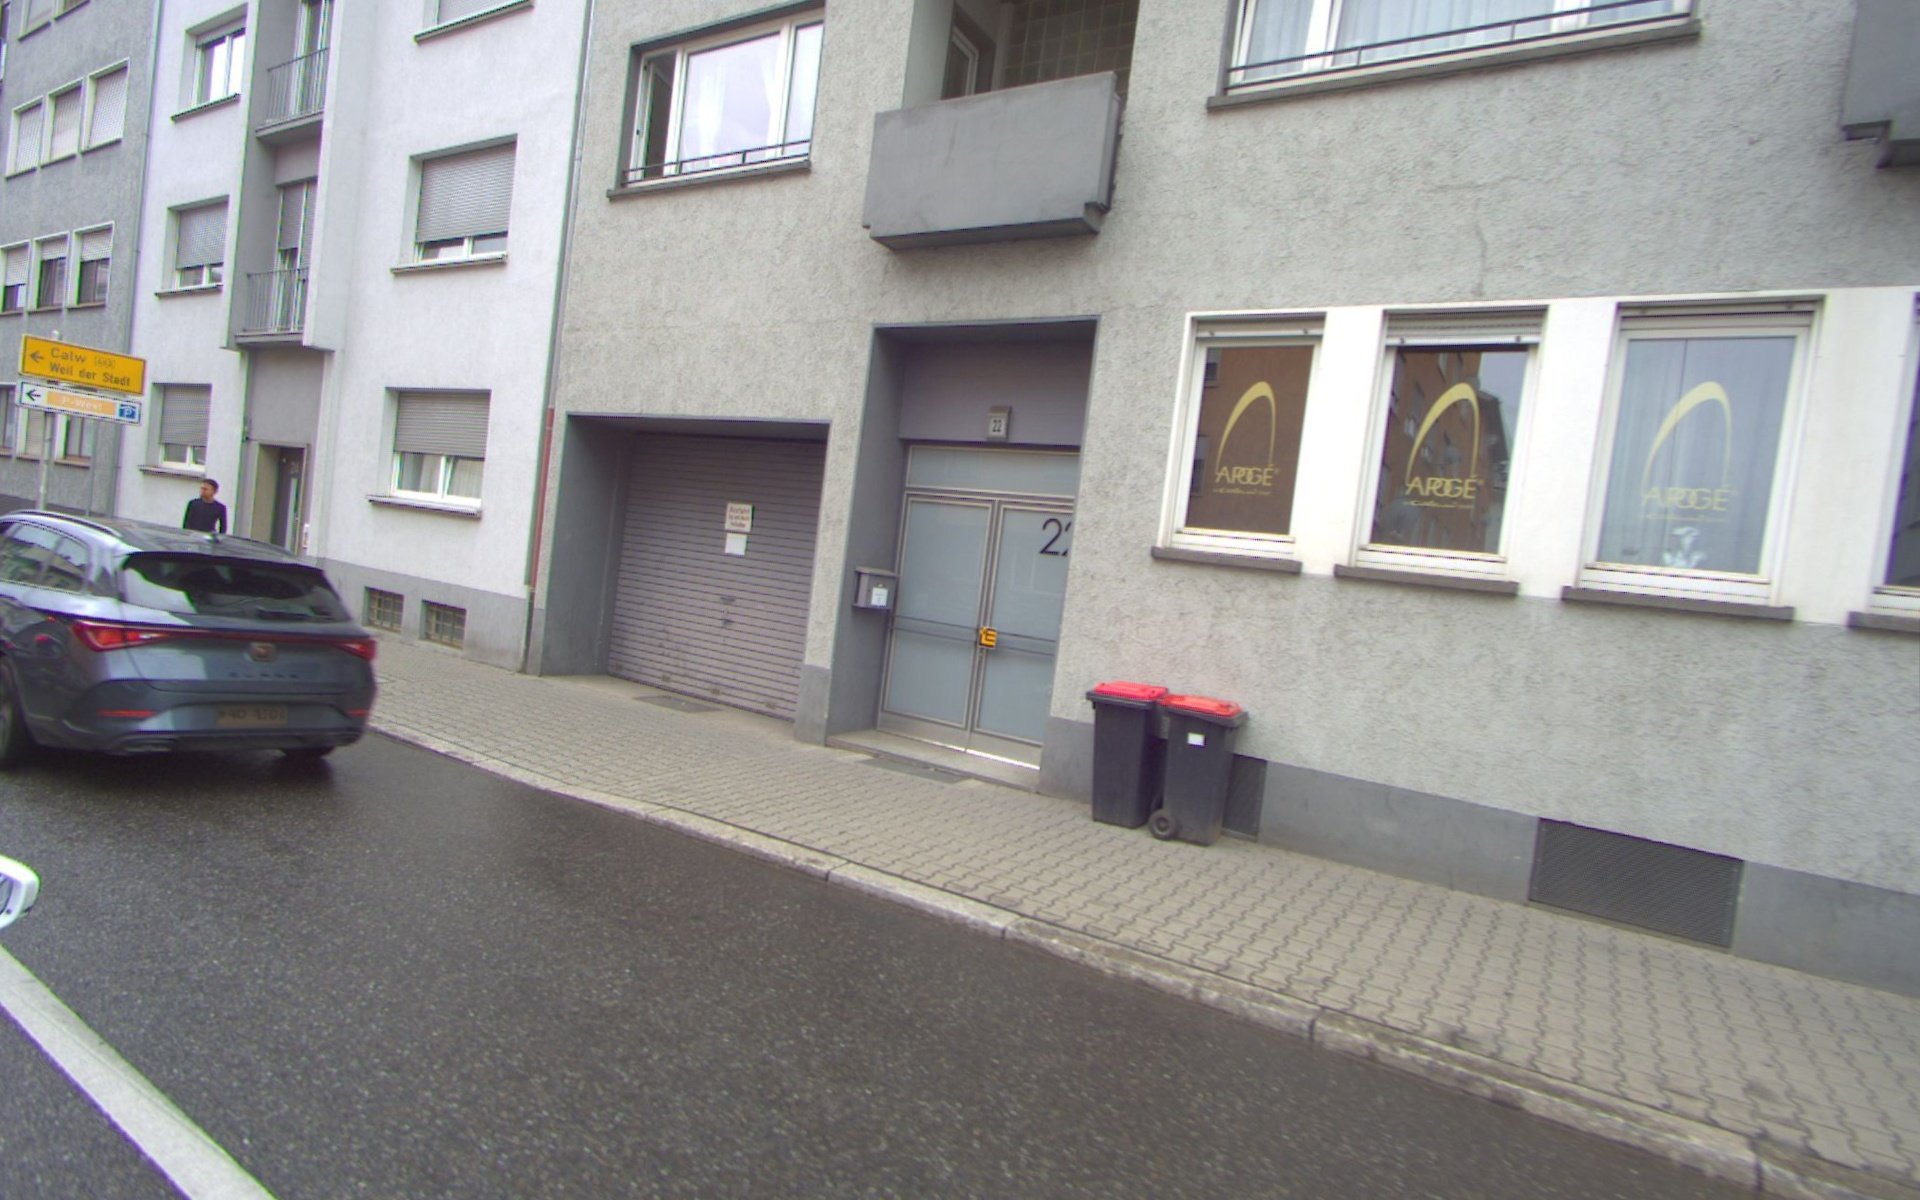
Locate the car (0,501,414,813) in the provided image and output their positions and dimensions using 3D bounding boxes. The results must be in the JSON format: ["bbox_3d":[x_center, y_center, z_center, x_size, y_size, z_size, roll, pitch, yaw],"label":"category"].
[{"bbox_3d":[-5.679,0.177,6.648,4.240,1.446,1.624,7,-2,32],"label":"car"}]

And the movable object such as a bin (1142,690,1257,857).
[{"bbox_3d":[1.595,1.128,6.697,0.507,0.963,0.539,7,4,32],"label":"movable object such as a bin"}]

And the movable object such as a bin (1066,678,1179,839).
[{"bbox_3d":[1.123,1.066,6.931,0.507,0.969,0.539,7,4,32],"label":"movable object such as a bin"}]

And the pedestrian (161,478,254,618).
[{"bbox_3d":[-10.356,-0.712,13.842,1.039,1.802,0.643,7,4,32],"label":"pedestrian"}]
